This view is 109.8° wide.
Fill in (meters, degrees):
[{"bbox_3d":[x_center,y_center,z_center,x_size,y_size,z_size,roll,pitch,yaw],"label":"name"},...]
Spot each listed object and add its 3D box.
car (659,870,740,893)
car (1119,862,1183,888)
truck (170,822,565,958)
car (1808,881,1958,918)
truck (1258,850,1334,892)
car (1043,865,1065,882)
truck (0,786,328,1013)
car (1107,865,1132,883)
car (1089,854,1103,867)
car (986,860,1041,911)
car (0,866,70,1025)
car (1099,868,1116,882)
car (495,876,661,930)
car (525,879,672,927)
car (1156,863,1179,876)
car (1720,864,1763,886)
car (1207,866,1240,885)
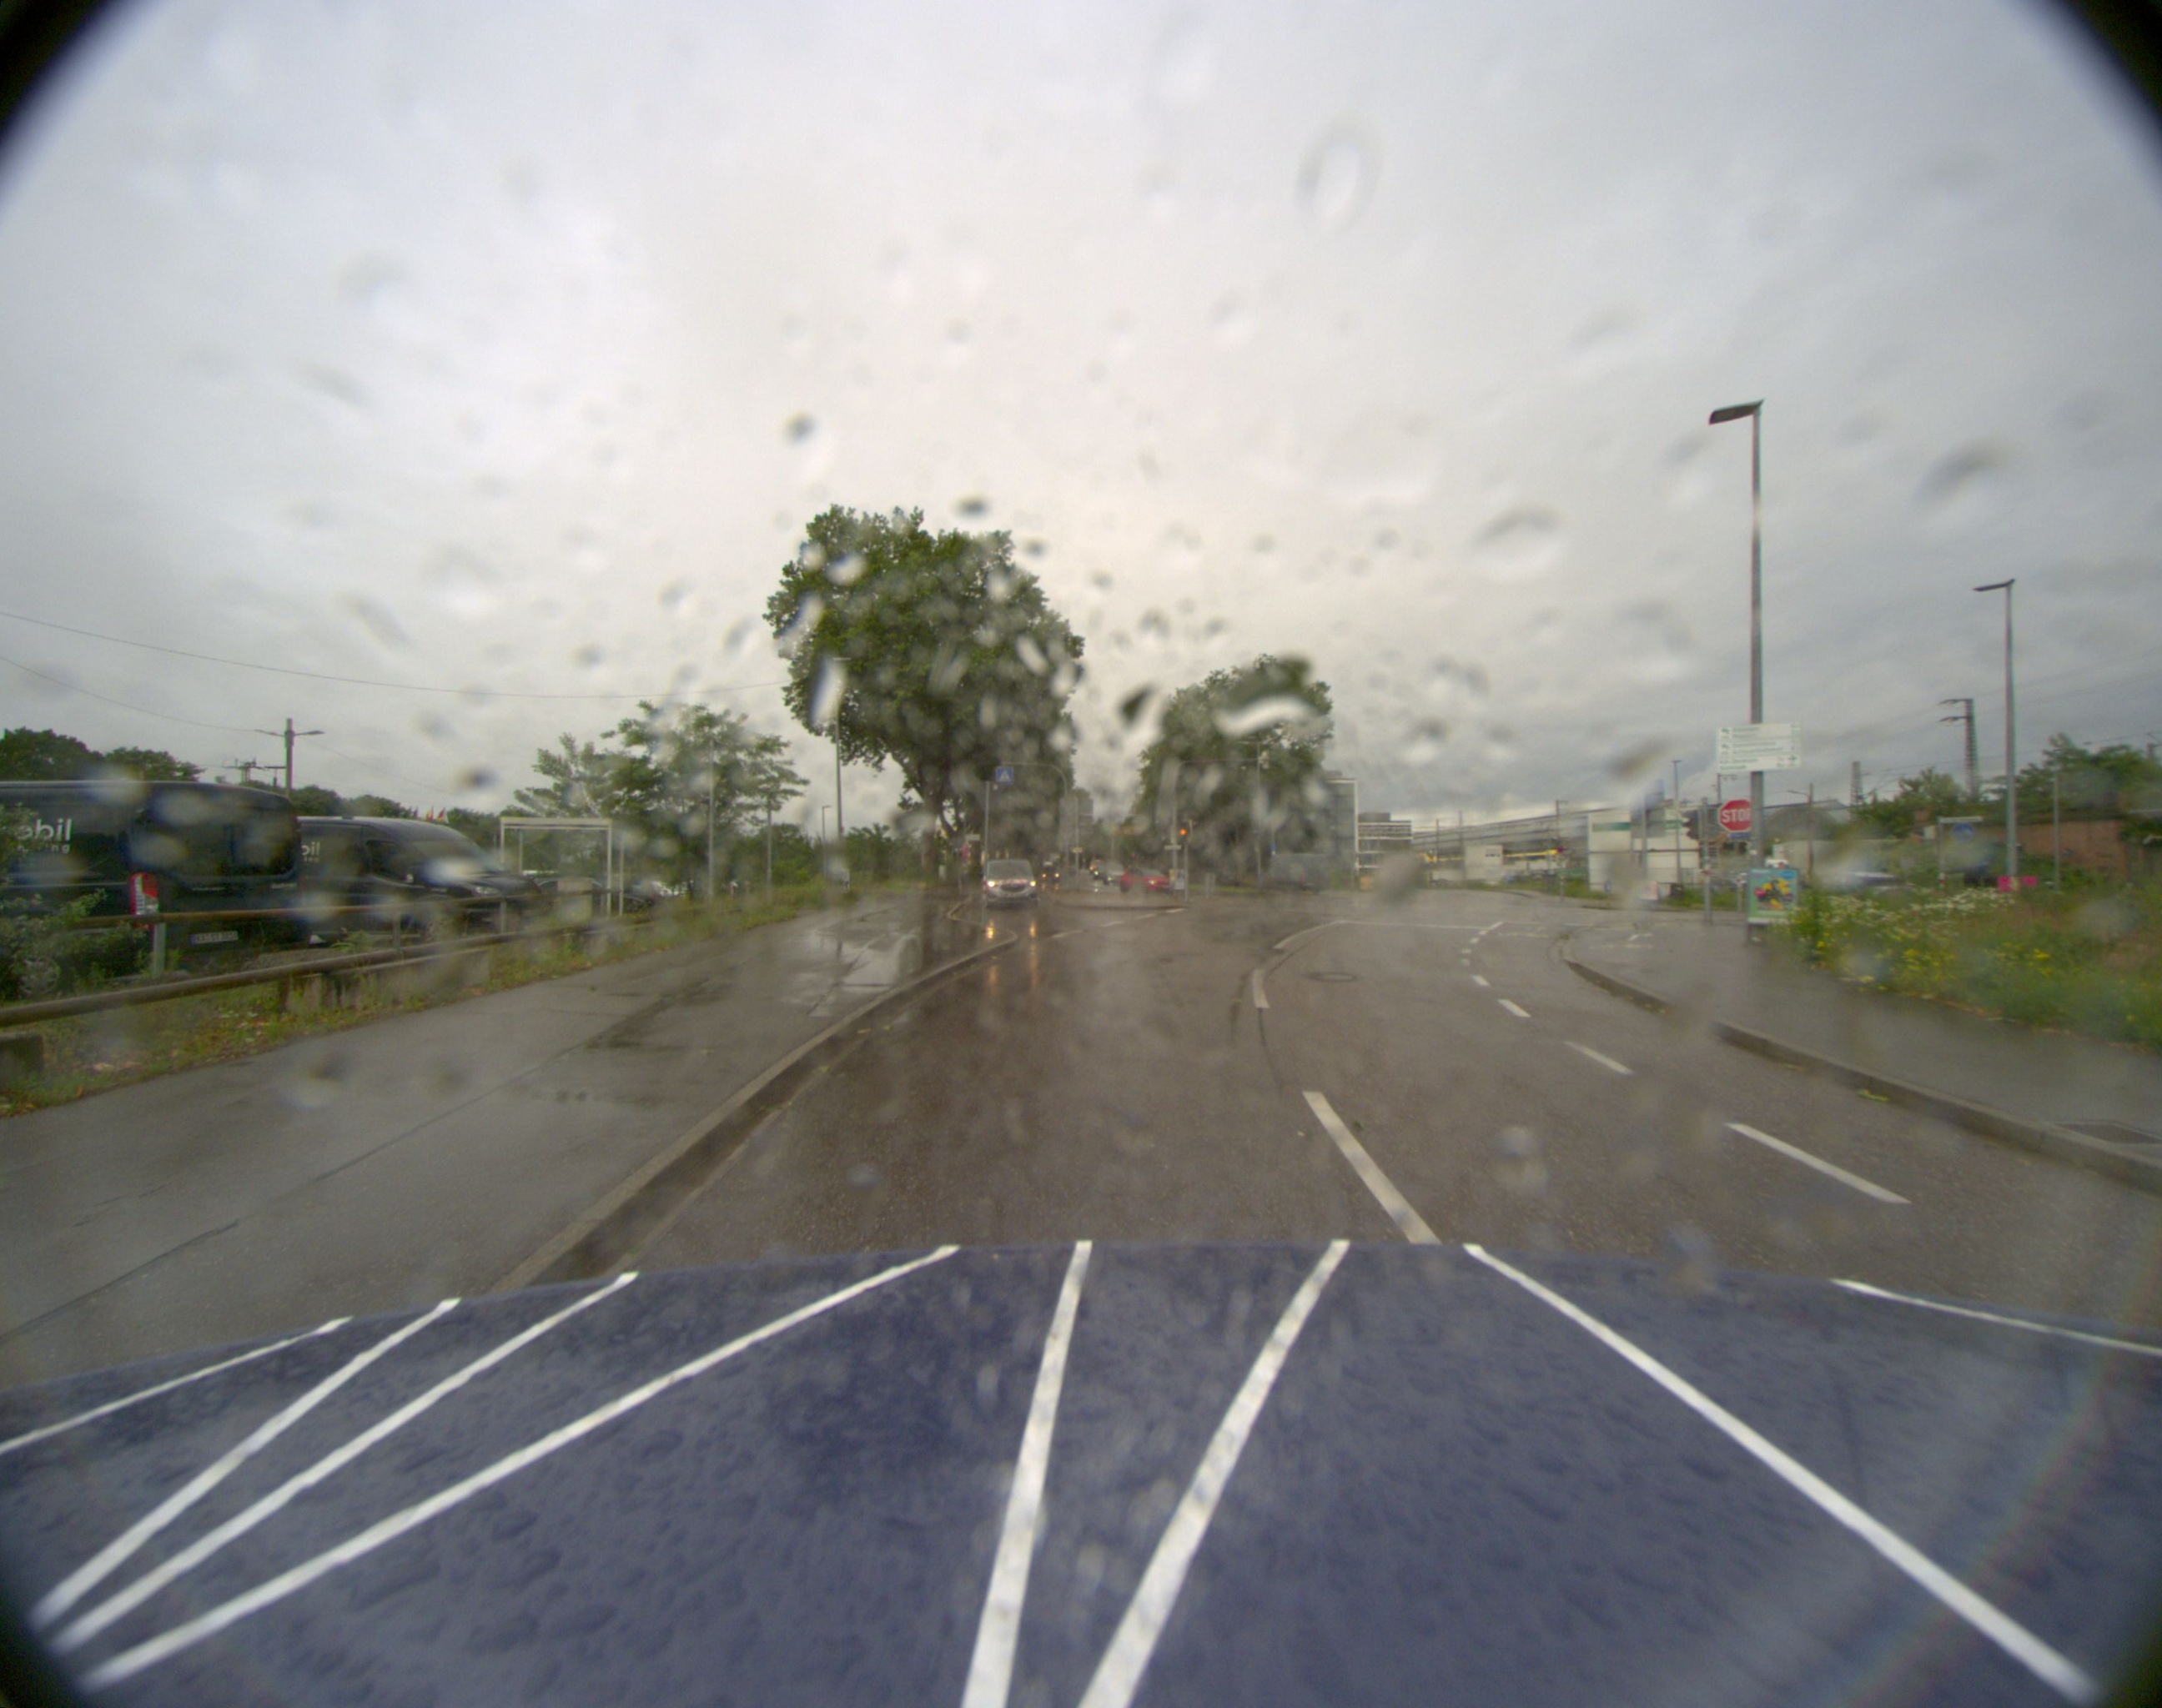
[{"bbox_3d":[-24.484,1.732,48.900,4.399,1.421,1.874,1,-1,-16],"label":"car"},{"bbox_3d":[3.811,1.129,42.015,1.747,1.373,3.992,0,-1,-24],"label":"car"},{"bbox_3d":[-13.259,0.629,14.459,5.344,2.309,2.074,-1,0,-4],"label":"truck"},{"bbox_3d":[36.130,2.026,34.351,4.422,1.477,1.735,1,0,13],"label":"car"},{"bbox_3d":[14.176,1.100,50.652,2.091,2.603,6.973,0,-1,-9],"label":"truck"},{"bbox_3d":[-2.381,1.717,66.981,1.743,1.437,4.001,1,-1,1],"label":"car"},{"bbox_3d":[-12.612,0.509,8.958,5.048,2.388,2.109,-1,0,-7],"label":"truck"},{"bbox_3d":[3.080,1.645,61.963,1.744,1.373,4.000,1,-1,-1],"label":"car"},{"bbox_3d":[2.062,0.865,104.626,1.853,1.593,4.499,-2,1,1],"label":"car"},{"bbox_3d":[-2.431,1.087,27.888,1.839,1.714,4.171,0,0,-4],"label":"car"},{"bbox_3d":[-11.623,0.845,6.065,4.172,1.412,1.862,-1,0,-7],"label":"car"},{"bbox_3d":[2.642,2.128,75.960,1.644,1.346,3.776,0,-1,0],"label":"car"},{"bbox_3d":[-15.053,1.432,23.002,4.006,1.480,1.701,1,-1,-27],"label":"car"},{"bbox_3d":[-16.124,1.603,25.667,4.006,1.494,1.872,1,-1,-27],"label":"car"},{"bbox_3d":[10.843,1.977,95.866,2.000,1.632,3.998,0,-1,-7],"label":"car"},{"bbox_3d":[63.534,2.010,73.193,1.995,2.002,4.006,-1,0,23],"label":"car"},{"bbox_3d":[11.698,1.776,62.592,1.650,1.443,3.530,1,-3,-7],"label":"car"}]
